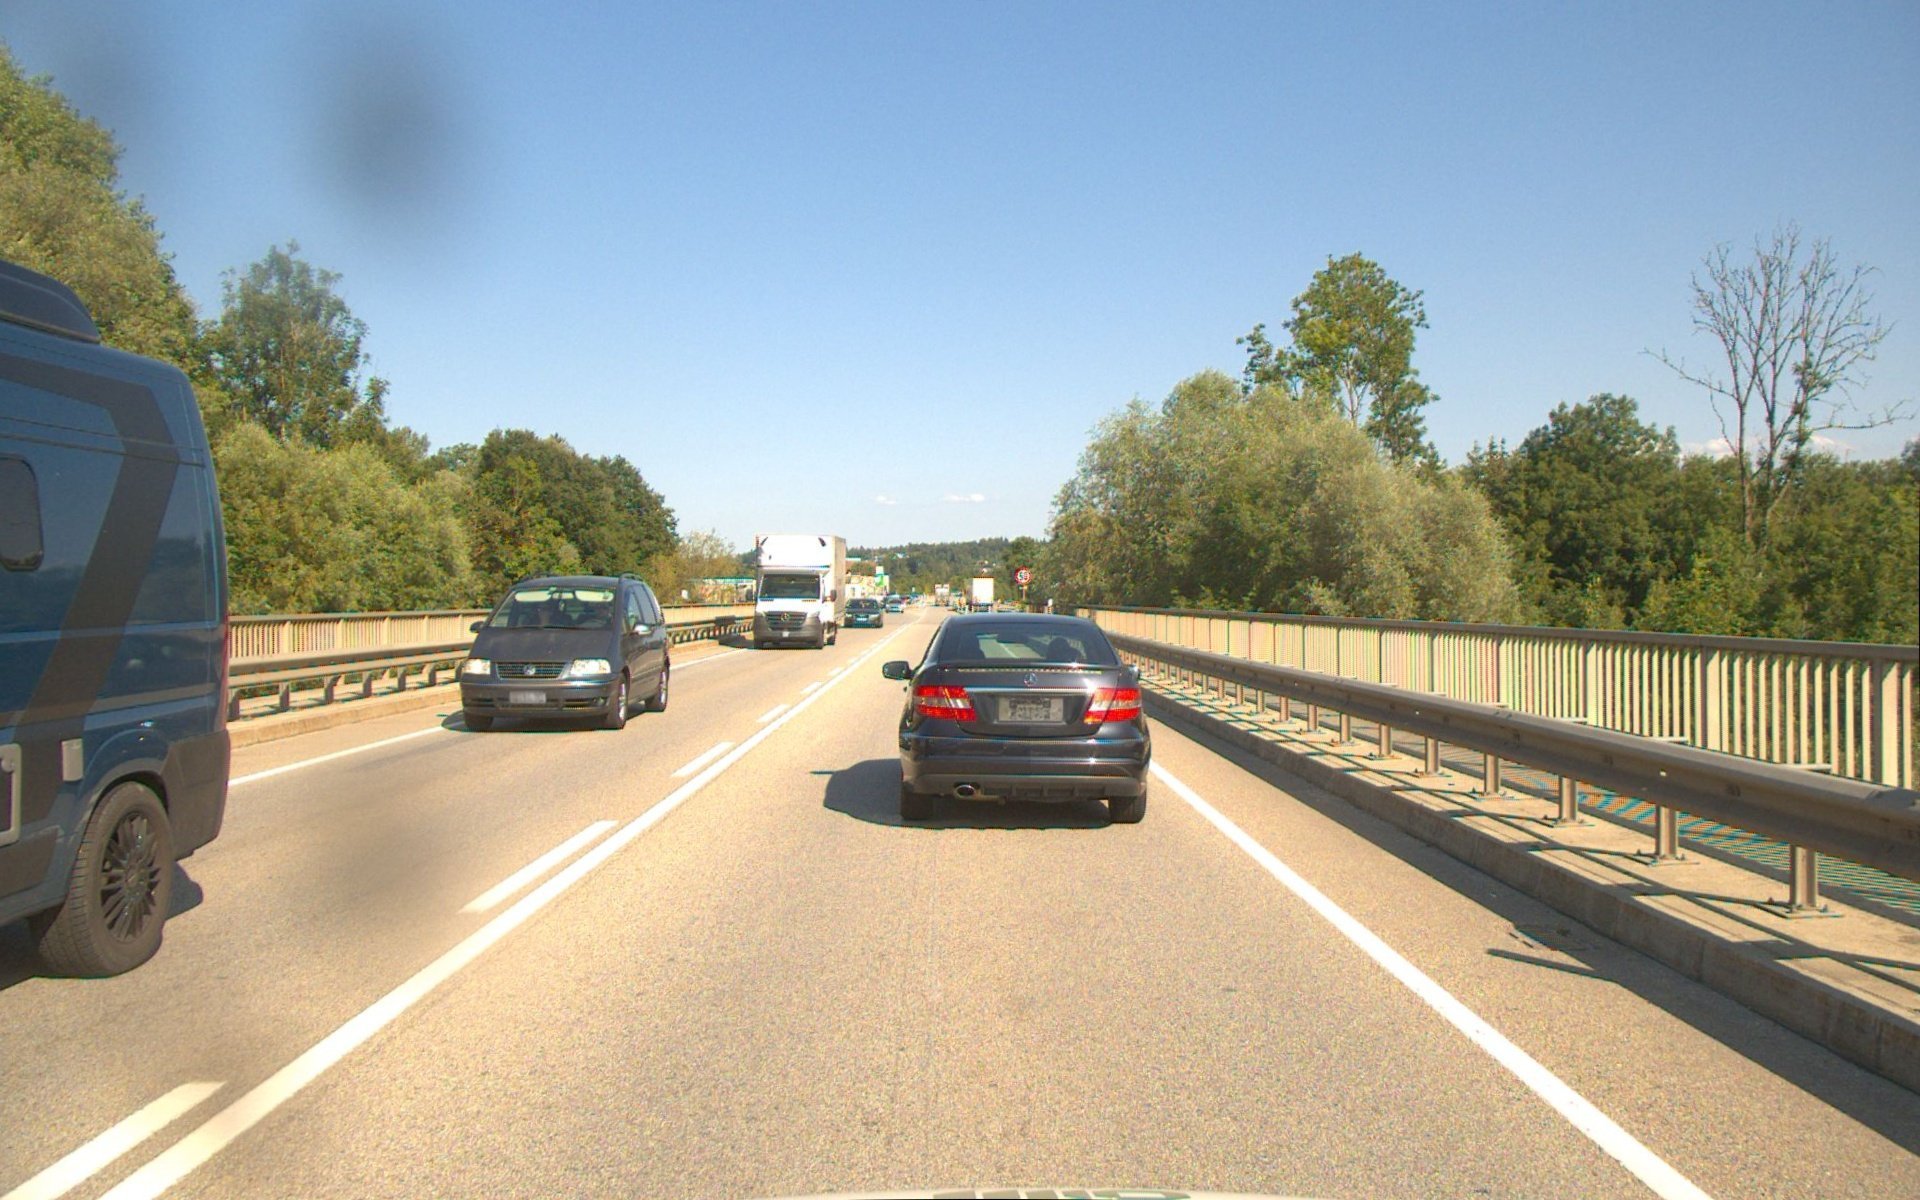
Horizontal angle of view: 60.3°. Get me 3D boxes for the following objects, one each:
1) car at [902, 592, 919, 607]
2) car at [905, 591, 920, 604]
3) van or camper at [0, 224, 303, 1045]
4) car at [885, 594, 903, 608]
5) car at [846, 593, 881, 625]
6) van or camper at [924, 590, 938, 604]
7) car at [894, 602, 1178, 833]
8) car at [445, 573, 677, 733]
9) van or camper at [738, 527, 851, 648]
[{"bbox_3d":[-7.206,-0.068,239.909,1.951,2.049,4.003,0,0,6],"label":"car"},{"bbox_3d":[-6.478,-0.341,226.368,1.766,1.634,3.917,2,1,2],"label":"car"},{"bbox_3d":[-4.327,0.113,4.724,2.380,2.688,6.404,0,0,-1],"label":"van or camper"},{"bbox_3d":[-6.623,0.091,166.164,1.666,1.380,3.736,1,0,0],"label":"car"},{"bbox_3d":[-4.671,0.423,80.323,1.626,1.461,4.185,1,0,-3],"label":"car"},{"bbox_3d":[-4.467,-0.491,253.317,1.952,2.049,4.001,0,0,2],"label":"van or camper"},{"bbox_3d":[0.496,0.734,12.281,1.756,1.400,4.000,0,0,1],"label":"car"},{"bbox_3d":[-4.582,0.549,19.658,1.804,1.670,4.575,1,0,-2],"label":"car"},{"bbox_3d":[-4.811,-0.361,49.412,2.581,3.313,7.749,1,0,0],"label":"van or camper"}]
